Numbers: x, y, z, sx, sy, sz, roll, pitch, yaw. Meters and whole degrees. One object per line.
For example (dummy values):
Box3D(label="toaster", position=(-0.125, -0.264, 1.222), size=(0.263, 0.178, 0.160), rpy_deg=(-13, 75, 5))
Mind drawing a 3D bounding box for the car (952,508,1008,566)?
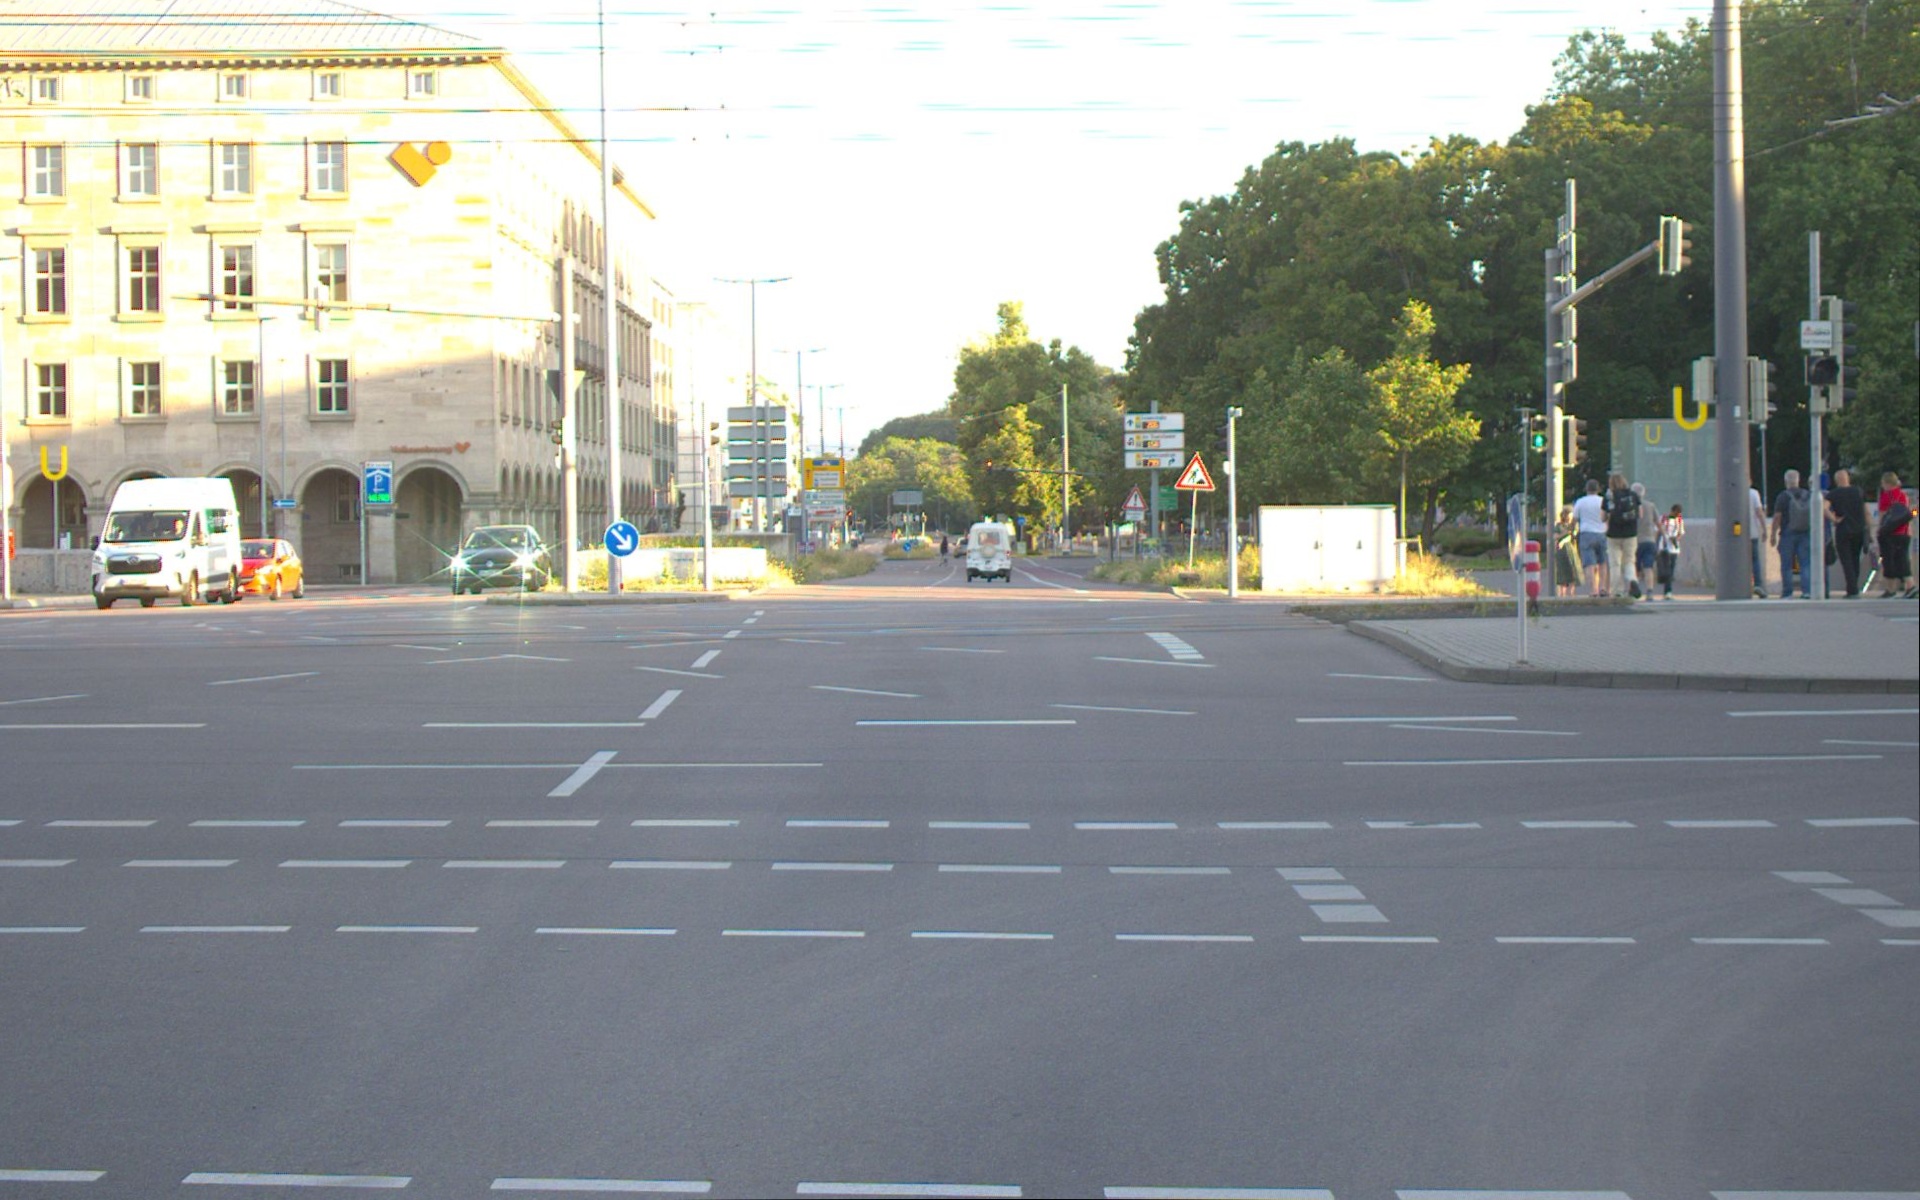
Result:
Box3D(label="car", position=(0.583, -1.885, 102.425), size=(1.483, 1.690, 2.974), rpy_deg=(-1, 2, -3))

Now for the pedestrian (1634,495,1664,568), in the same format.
Box3D(label="pedestrian", position=(17.424, -1.741, 86.979), size=(0.666, 1.836, 0.713), rpy_deg=(-1, 2, 5))

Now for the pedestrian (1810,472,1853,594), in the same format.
Box3D(label="pedestrian", position=(12.017, -0.923, 47.422), size=(0.572, 1.673, 0.638), rpy_deg=(0, 2, 14))

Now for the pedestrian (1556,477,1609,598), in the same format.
Box3D(label="pedestrian", position=(8.940, -0.902, 49.378), size=(0.711, 1.719, 0.668), rpy_deg=(0, 2, 14))

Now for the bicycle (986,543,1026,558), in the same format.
Box3D(label="bicycle", position=(3.013, -3.225, 224.554), size=(2.601, 0.955, 0.515), rpy_deg=(1, 0, -14))

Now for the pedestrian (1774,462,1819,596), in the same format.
Box3D(label="pedestrian", position=(11.223, -0.955, 46.141), size=(0.572, 1.785, 0.638), rpy_deg=(0, 2, 14))

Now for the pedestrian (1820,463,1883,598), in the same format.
Box3D(label="pedestrian", position=(11.907, -0.927, 45.938), size=(0.805, 1.785, 0.800), rpy_deg=(0, 2, 14))

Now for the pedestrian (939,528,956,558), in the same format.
Box3D(label="pedestrian", position=(-0.728, -3.228, 194.493), size=(0.906, 1.665, 1.307), rpy_deg=(-1, 2, -1))

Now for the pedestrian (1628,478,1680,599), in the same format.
Box3D(label="pedestrian", position=(9.953, -0.887, 49.301), size=(0.711, 1.719, 0.668), rpy_deg=(0, 2, 13))

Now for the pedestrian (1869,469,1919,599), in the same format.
Box3D(label="pedestrian", position=(12.704, -0.891, 46.301), size=(0.845, 1.728, 0.705), rpy_deg=(0, 2, 12))

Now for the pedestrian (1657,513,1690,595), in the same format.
Box3D(label="pedestrian", position=(12.727, -0.825, 61.316), size=(0.572, 1.433, 0.638), rpy_deg=(0, 2, 11))

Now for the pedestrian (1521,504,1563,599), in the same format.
Box3D(label="pedestrian", position=(10.281, -0.867, 60.710), size=(0.560, 1.649, 0.901), rpy_deg=(0, 2, 20))

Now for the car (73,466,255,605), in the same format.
Box3D(label="car", position=(-16.699, -1.390, 72.479), size=(2.279, 2.766, 6.084), rpy_deg=(-1, 2, 1))

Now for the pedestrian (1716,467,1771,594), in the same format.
Box3D(label="pedestrian", position=(10.690, -0.954, 46.884), size=(0.711, 1.719, 0.914), rpy_deg=(0, 2, 14))

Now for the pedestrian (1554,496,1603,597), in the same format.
Box3D(label="pedestrian", position=(10.883, -0.950, 60.479), size=(0.680, 1.751, 0.901), rpy_deg=(0, 2, 20))

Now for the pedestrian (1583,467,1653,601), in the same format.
Box3D(label="pedestrian", position=(8.565, -0.863, 44.751), size=(0.711, 1.719, 0.915), rpy_deg=(-1, 2, -1))

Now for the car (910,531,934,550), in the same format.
Box3D(label="car", position=(-2.626, -4.103, 235.088), size=(1.369, 1.230, 3.046), rpy_deg=(-1, 2, -5))

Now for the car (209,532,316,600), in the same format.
Box3D(label="car", position=(-16.441, -0.827, 81.190), size=(1.738, 1.482, 4.001), rpy_deg=(-1, 2, -1))

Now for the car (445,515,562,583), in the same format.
Box3D(label="car", position=(-9.615, -1.090, 72.649), size=(1.823, 1.337, 4.000), rpy_deg=(-1, 2, 2))
